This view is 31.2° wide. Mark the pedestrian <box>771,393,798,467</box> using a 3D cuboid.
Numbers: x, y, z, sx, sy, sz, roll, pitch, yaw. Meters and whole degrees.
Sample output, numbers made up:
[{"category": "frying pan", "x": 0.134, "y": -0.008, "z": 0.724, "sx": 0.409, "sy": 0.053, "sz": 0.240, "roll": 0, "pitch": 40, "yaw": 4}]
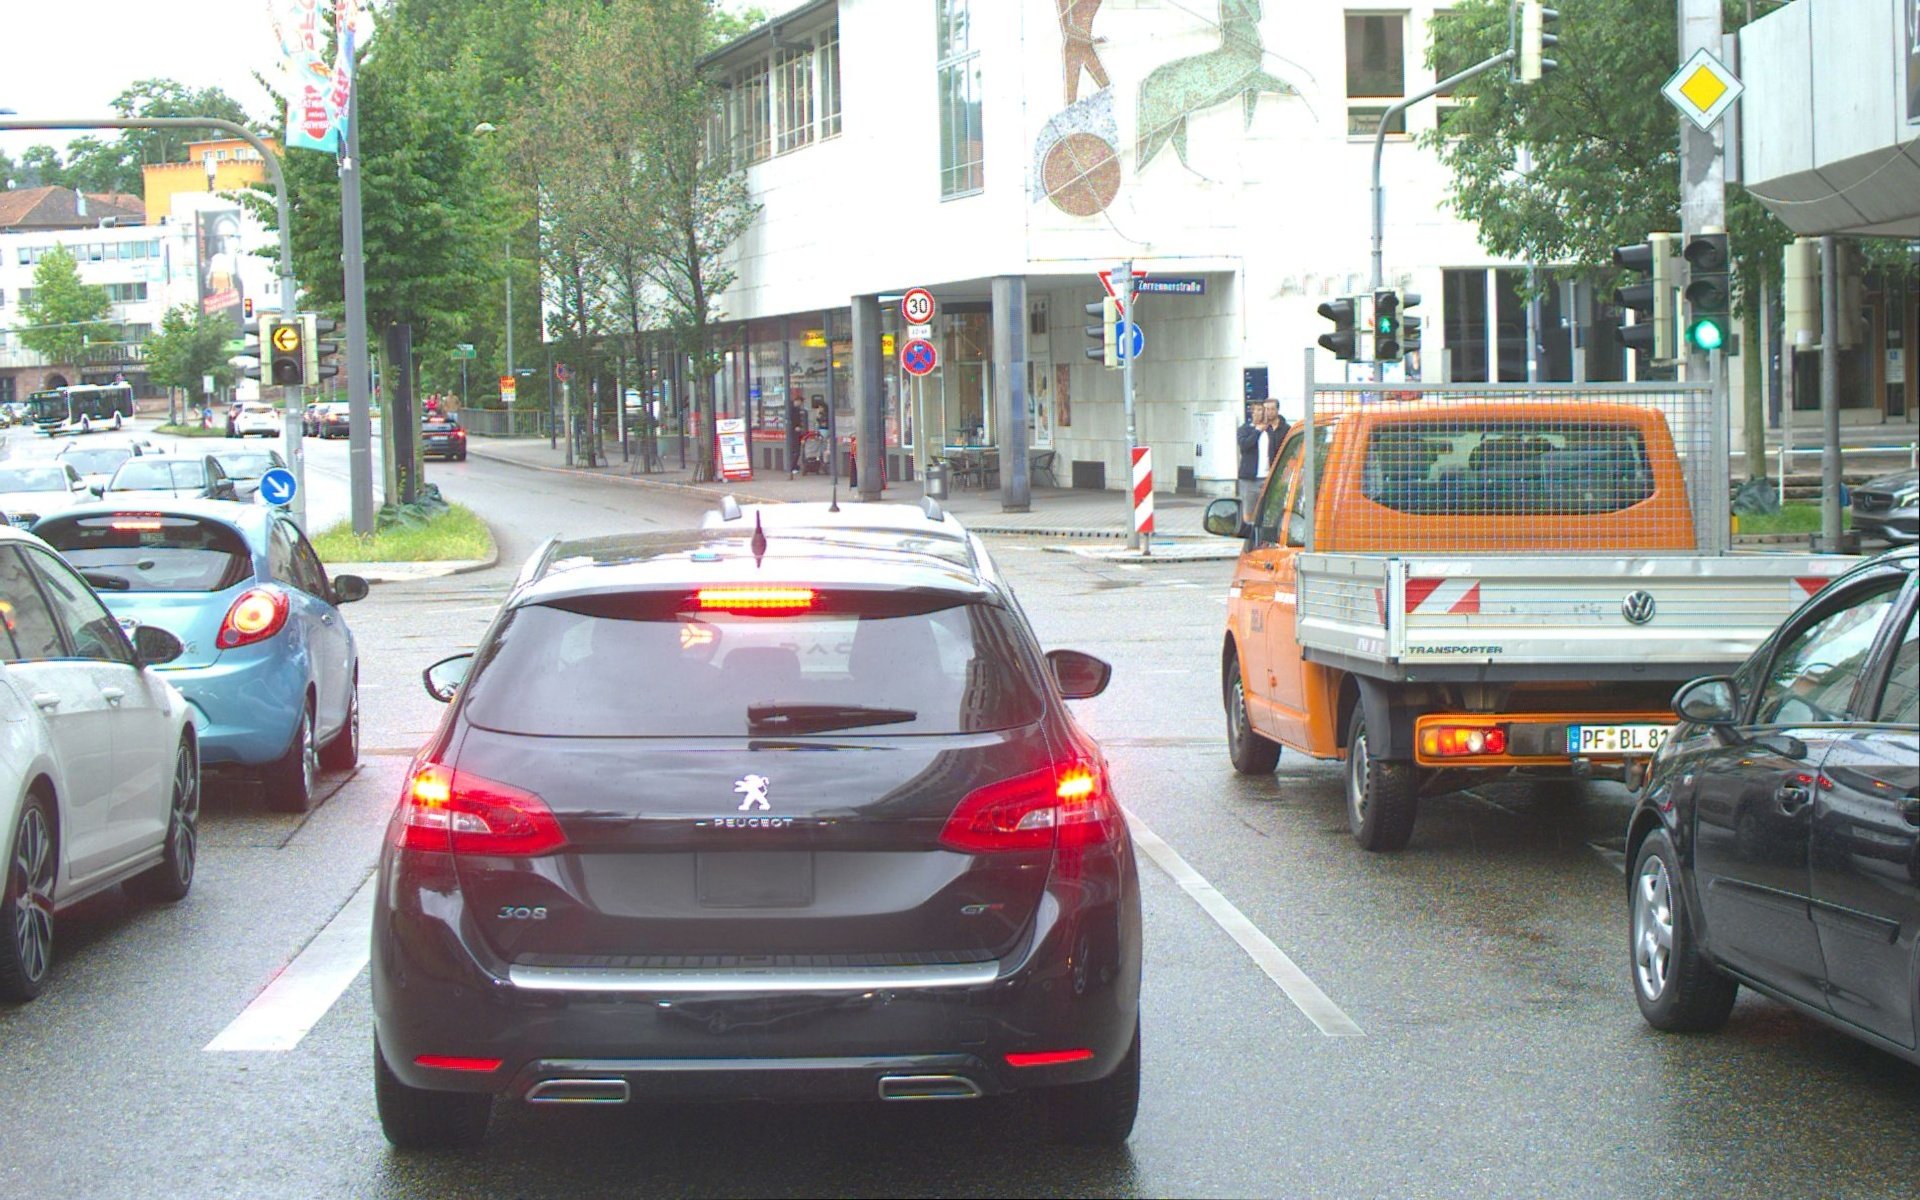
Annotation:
[{"category": "pedestrian", "x": -4.226, "y": -4.090, "z": 82.764, "sx": 0.468, "sy": 1.742, "sz": 0.541, "roll": 1, "pitch": 0, "yaw": -21}]

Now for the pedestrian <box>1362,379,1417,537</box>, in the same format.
[{"category": "pedestrian", "x": 5.225, "y": -1.722, "z": 41.857, "sx": 0.637, "sy": 1.891, "sz": 0.733, "roll": 0, "pitch": 0, "yaw": 6}]

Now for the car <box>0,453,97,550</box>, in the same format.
[{"category": "car", "x": -14.646, "y": -1.573, "z": 54.063, "sx": 1.632, "sy": 1.481, "sz": 3.610, "roll": 0, "pitch": 2, "yaw": -7}]

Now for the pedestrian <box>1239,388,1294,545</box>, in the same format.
[{"category": "pedestrian", "x": 3.759, "y": -1.626, "z": 42.098, "sx": 0.637, "sy": 1.891, "sz": 0.733, "roll": 0, "pitch": 0, "yaw": 6}]

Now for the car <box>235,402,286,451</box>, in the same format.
[{"category": "car", "x": -29.701, "y": -7.337, "z": 145.961, "sx": 1.705, "sy": 1.875, "sz": 4.001, "roll": 1, "pitch": 0, "yaw": -18}]

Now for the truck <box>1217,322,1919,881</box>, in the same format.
[{"category": "truck", "x": 2.589, "y": -0.091, "z": 15.924, "sx": 2.177, "sy": 2.165, "sz": 5.021, "roll": 1, "pitch": 2, "yaw": -3}]

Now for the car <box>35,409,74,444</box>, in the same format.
[{"category": "car", "x": -57.549, "y": -10.995, "z": 218.431, "sx": 1.993, "sy": 2.007, "sz": 4.001, "roll": 1, "pitch": 0, "yaw": -20}]

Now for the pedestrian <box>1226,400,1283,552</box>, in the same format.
[{"category": "pedestrian", "x": 3.451, "y": -1.448, "z": 40.263, "sx": 0.637, "sy": 1.752, "sz": 0.733, "roll": 0, "pitch": 0, "yaw": 6}]

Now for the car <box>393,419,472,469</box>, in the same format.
[{"category": "car", "x": -16.712, "y": -4.947, "z": 108.864, "sx": 1.787, "sy": 1.449, "sz": 4.508, "roll": -4, "pitch": 4, "yaw": -17}]

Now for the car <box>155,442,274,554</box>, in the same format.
[{"category": "car", "x": -11.812, "y": -1.588, "z": 54.661, "sx": 1.744, "sy": 1.634, "sz": 4.001, "roll": 1, "pitch": 0, "yaw": -11}]

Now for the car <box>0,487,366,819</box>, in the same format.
[{"category": "car", "x": -3.997, "y": 0.188, "z": 17.493, "sx": 1.632, "sy": 1.481, "sz": 3.610, "roll": 0, "pitch": 2, "yaw": -5}]

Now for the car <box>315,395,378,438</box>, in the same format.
[{"category": "car", "x": -25.014, "y": -7.472, "z": 139.978, "sx": 1.724, "sy": 1.485, "sz": 4.734, "roll": 1, "pitch": 0, "yaw": -20}]

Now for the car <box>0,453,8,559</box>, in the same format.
[{"category": "car", "x": -14.186, "y": -1.274, "z": 46.971, "sx": 1.574, "sy": 1.481, "sz": 3.610, "roll": 0, "pitch": 2, "yaw": -4}]

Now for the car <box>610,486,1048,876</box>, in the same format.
[{"category": "car", "x": -0.539, "y": 0.255, "z": 15.330, "sx": 1.696, "sy": 1.481, "sz": 3.794, "roll": 1, "pitch": 2, "yaw": -1}]

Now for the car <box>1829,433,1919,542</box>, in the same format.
[{"category": "car", "x": 12.231, "y": -1.298, "z": 40.302, "sx": 3.688, "sy": 1.208, "sz": 1.835, "roll": 1, "pitch": 0, "yaw": 4}]

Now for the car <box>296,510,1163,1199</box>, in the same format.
[{"category": "car", "x": -0.474, "y": 0.493, "z": 9.008, "sx": 1.777, "sy": 1.424, "sz": 3.842, "roll": 1, "pitch": 2, "yaw": 0}]

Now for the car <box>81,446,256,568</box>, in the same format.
[{"category": "car", "x": -10.982, "y": -1.256, "z": 47.927, "sx": 1.744, "sy": 1.574, "sz": 4.000, "roll": 1, "pitch": 0, "yaw": -4}]

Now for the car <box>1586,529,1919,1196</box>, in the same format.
[{"category": "car", "x": 2.846, "y": 0.561, "z": 8.638, "sx": 1.616, "sy": 1.424, "sz": 3.843, "roll": 0, "pitch": 2, "yaw": -3}]

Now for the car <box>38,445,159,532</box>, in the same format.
[{"category": "car", "x": -15.287, "y": -1.996, "z": 61.142, "sx": 1.632, "sy": 1.481, "sz": 3.610, "roll": 0, "pitch": 2, "yaw": -7}]

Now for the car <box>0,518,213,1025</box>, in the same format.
[{"category": "car", "x": -3.720, "y": 0.455, "z": 11.466, "sx": 1.777, "sy": 1.424, "sz": 3.843, "roll": 0, "pitch": 2, "yaw": -3}]
